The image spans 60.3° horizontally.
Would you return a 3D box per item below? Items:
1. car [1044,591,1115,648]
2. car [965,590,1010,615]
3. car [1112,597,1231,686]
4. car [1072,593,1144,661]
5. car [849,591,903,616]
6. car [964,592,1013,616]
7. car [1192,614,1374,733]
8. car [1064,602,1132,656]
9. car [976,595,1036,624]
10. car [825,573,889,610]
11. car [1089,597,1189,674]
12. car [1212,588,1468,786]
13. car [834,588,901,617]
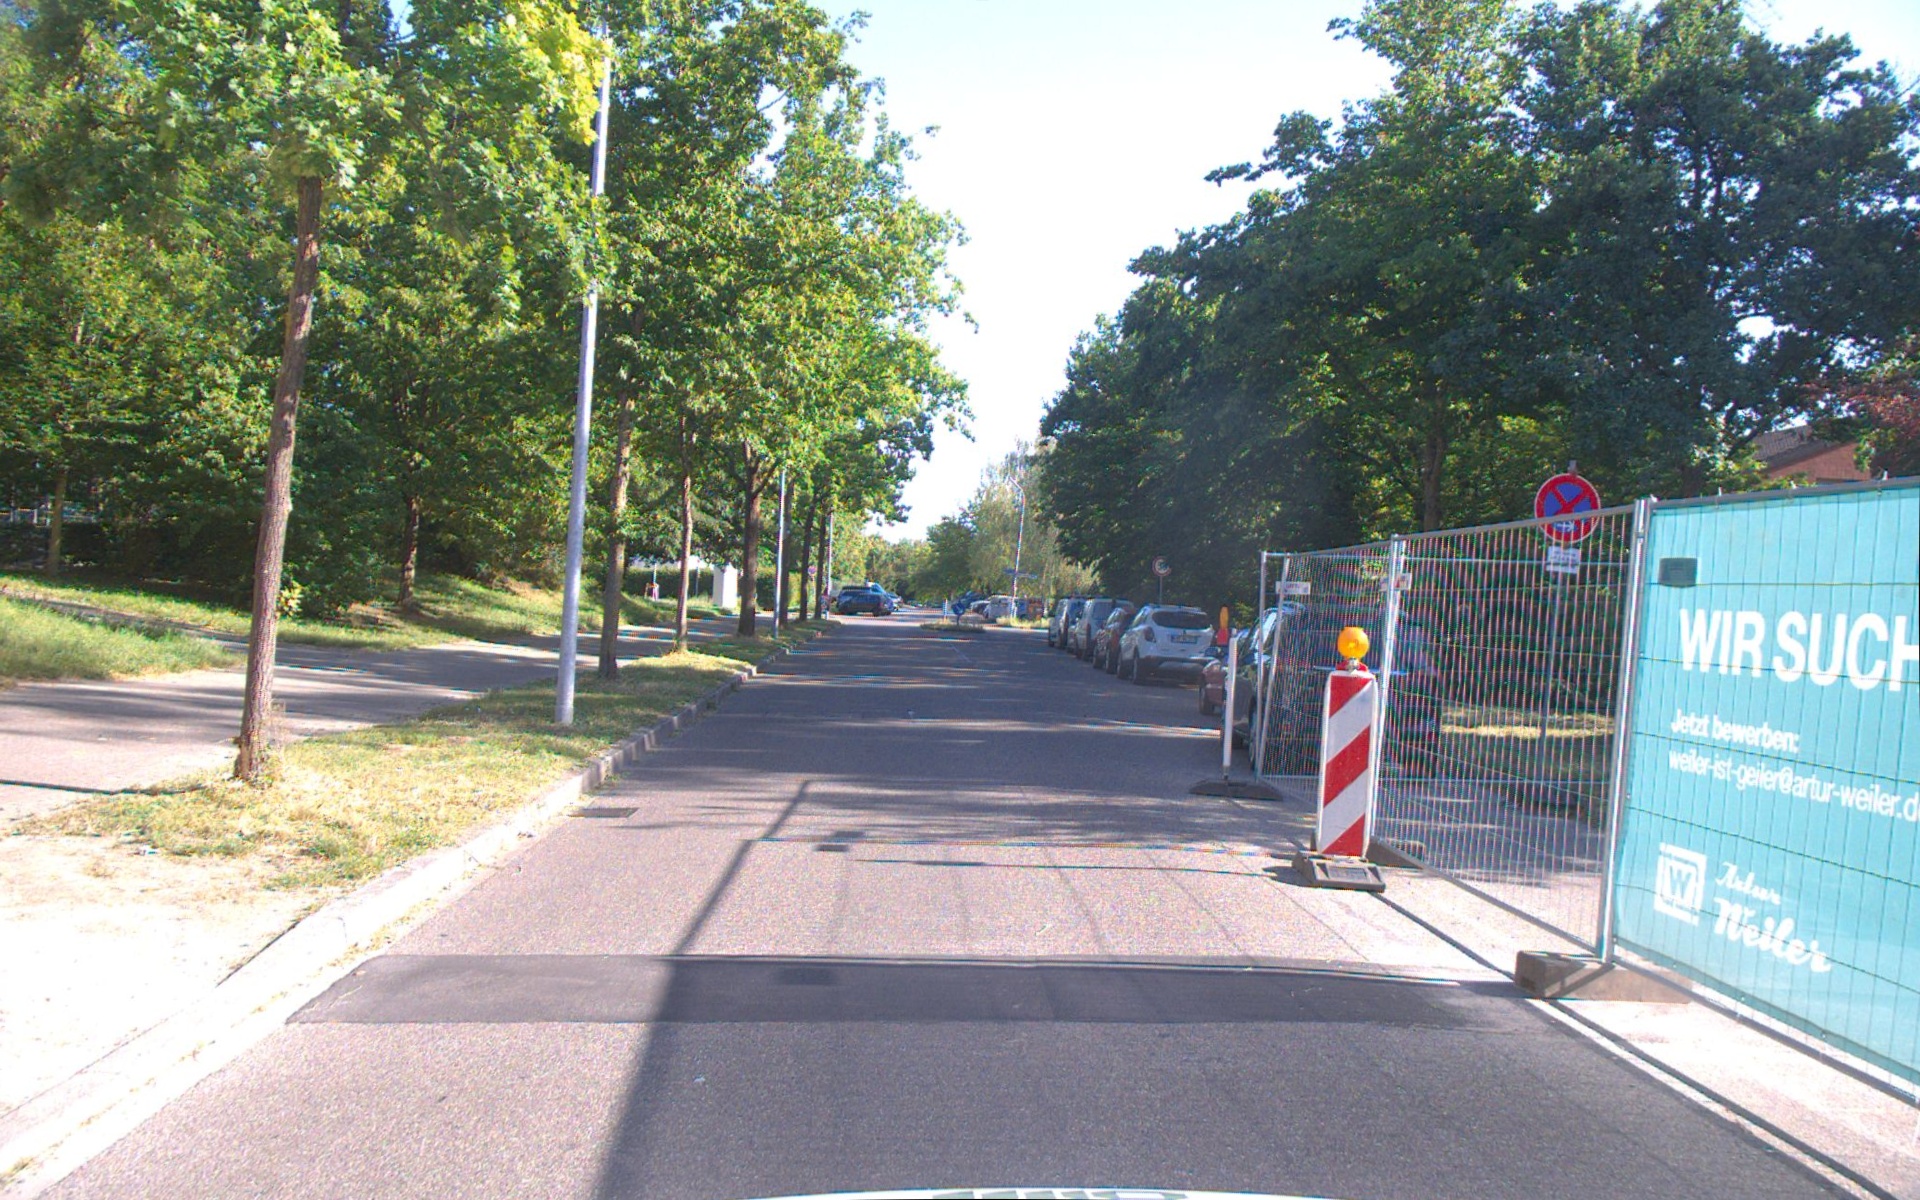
[{"bbox_3d":[4.265,0.667,59.688,1.756,1.816,4.553,4,0,-5],"label":"car"},{"bbox_3d":[2.378,0.214,143.815,3.759,1.827,1.689,5,0,3],"label":"car"},{"bbox_3d":[4.415,0.827,35.131,1.740,1.649,4.062,4,0,-3],"label":"car"},{"bbox_3d":[4.308,0.758,48.452,1.590,1.803,3.668,4,0,-1],"label":"car"},{"bbox_3d":[-6.555,0.261,129.635,4.023,1.604,1.958,5,0,0],"label":"car"},{"bbox_3d":[2.328,0.334,134.481,3.758,1.604,1.689,5,0,5],"label":"car"},{"bbox_3d":[4.570,0.994,23.947,1.628,1.399,4.153,4,0,-2],"label":"car"},{"bbox_3d":[4.418,0.913,53.545,1.657,1.538,4.205,4,0,-1],"label":"car"},{"bbox_3d":[3.020,0.637,109.061,3.758,1.604,1.689,5,0,5],"label":"car"},{"bbox_3d":[-8.624,-0.746,138.529,5.101,2.666,2.290,5,0,-6],"label":"car"},{"bbox_3d":[4.336,0.831,40.544,1.740,1.649,4.062,4,0,-3],"label":"car"},{"bbox_3d":[3.846,0.809,17.487,1.773,1.679,4.422,4,0,3],"label":"car"},{"bbox_3d":[-6.351,0.166,113.334,4.228,1.604,2.047,5,0,5],"label":"car"}]
